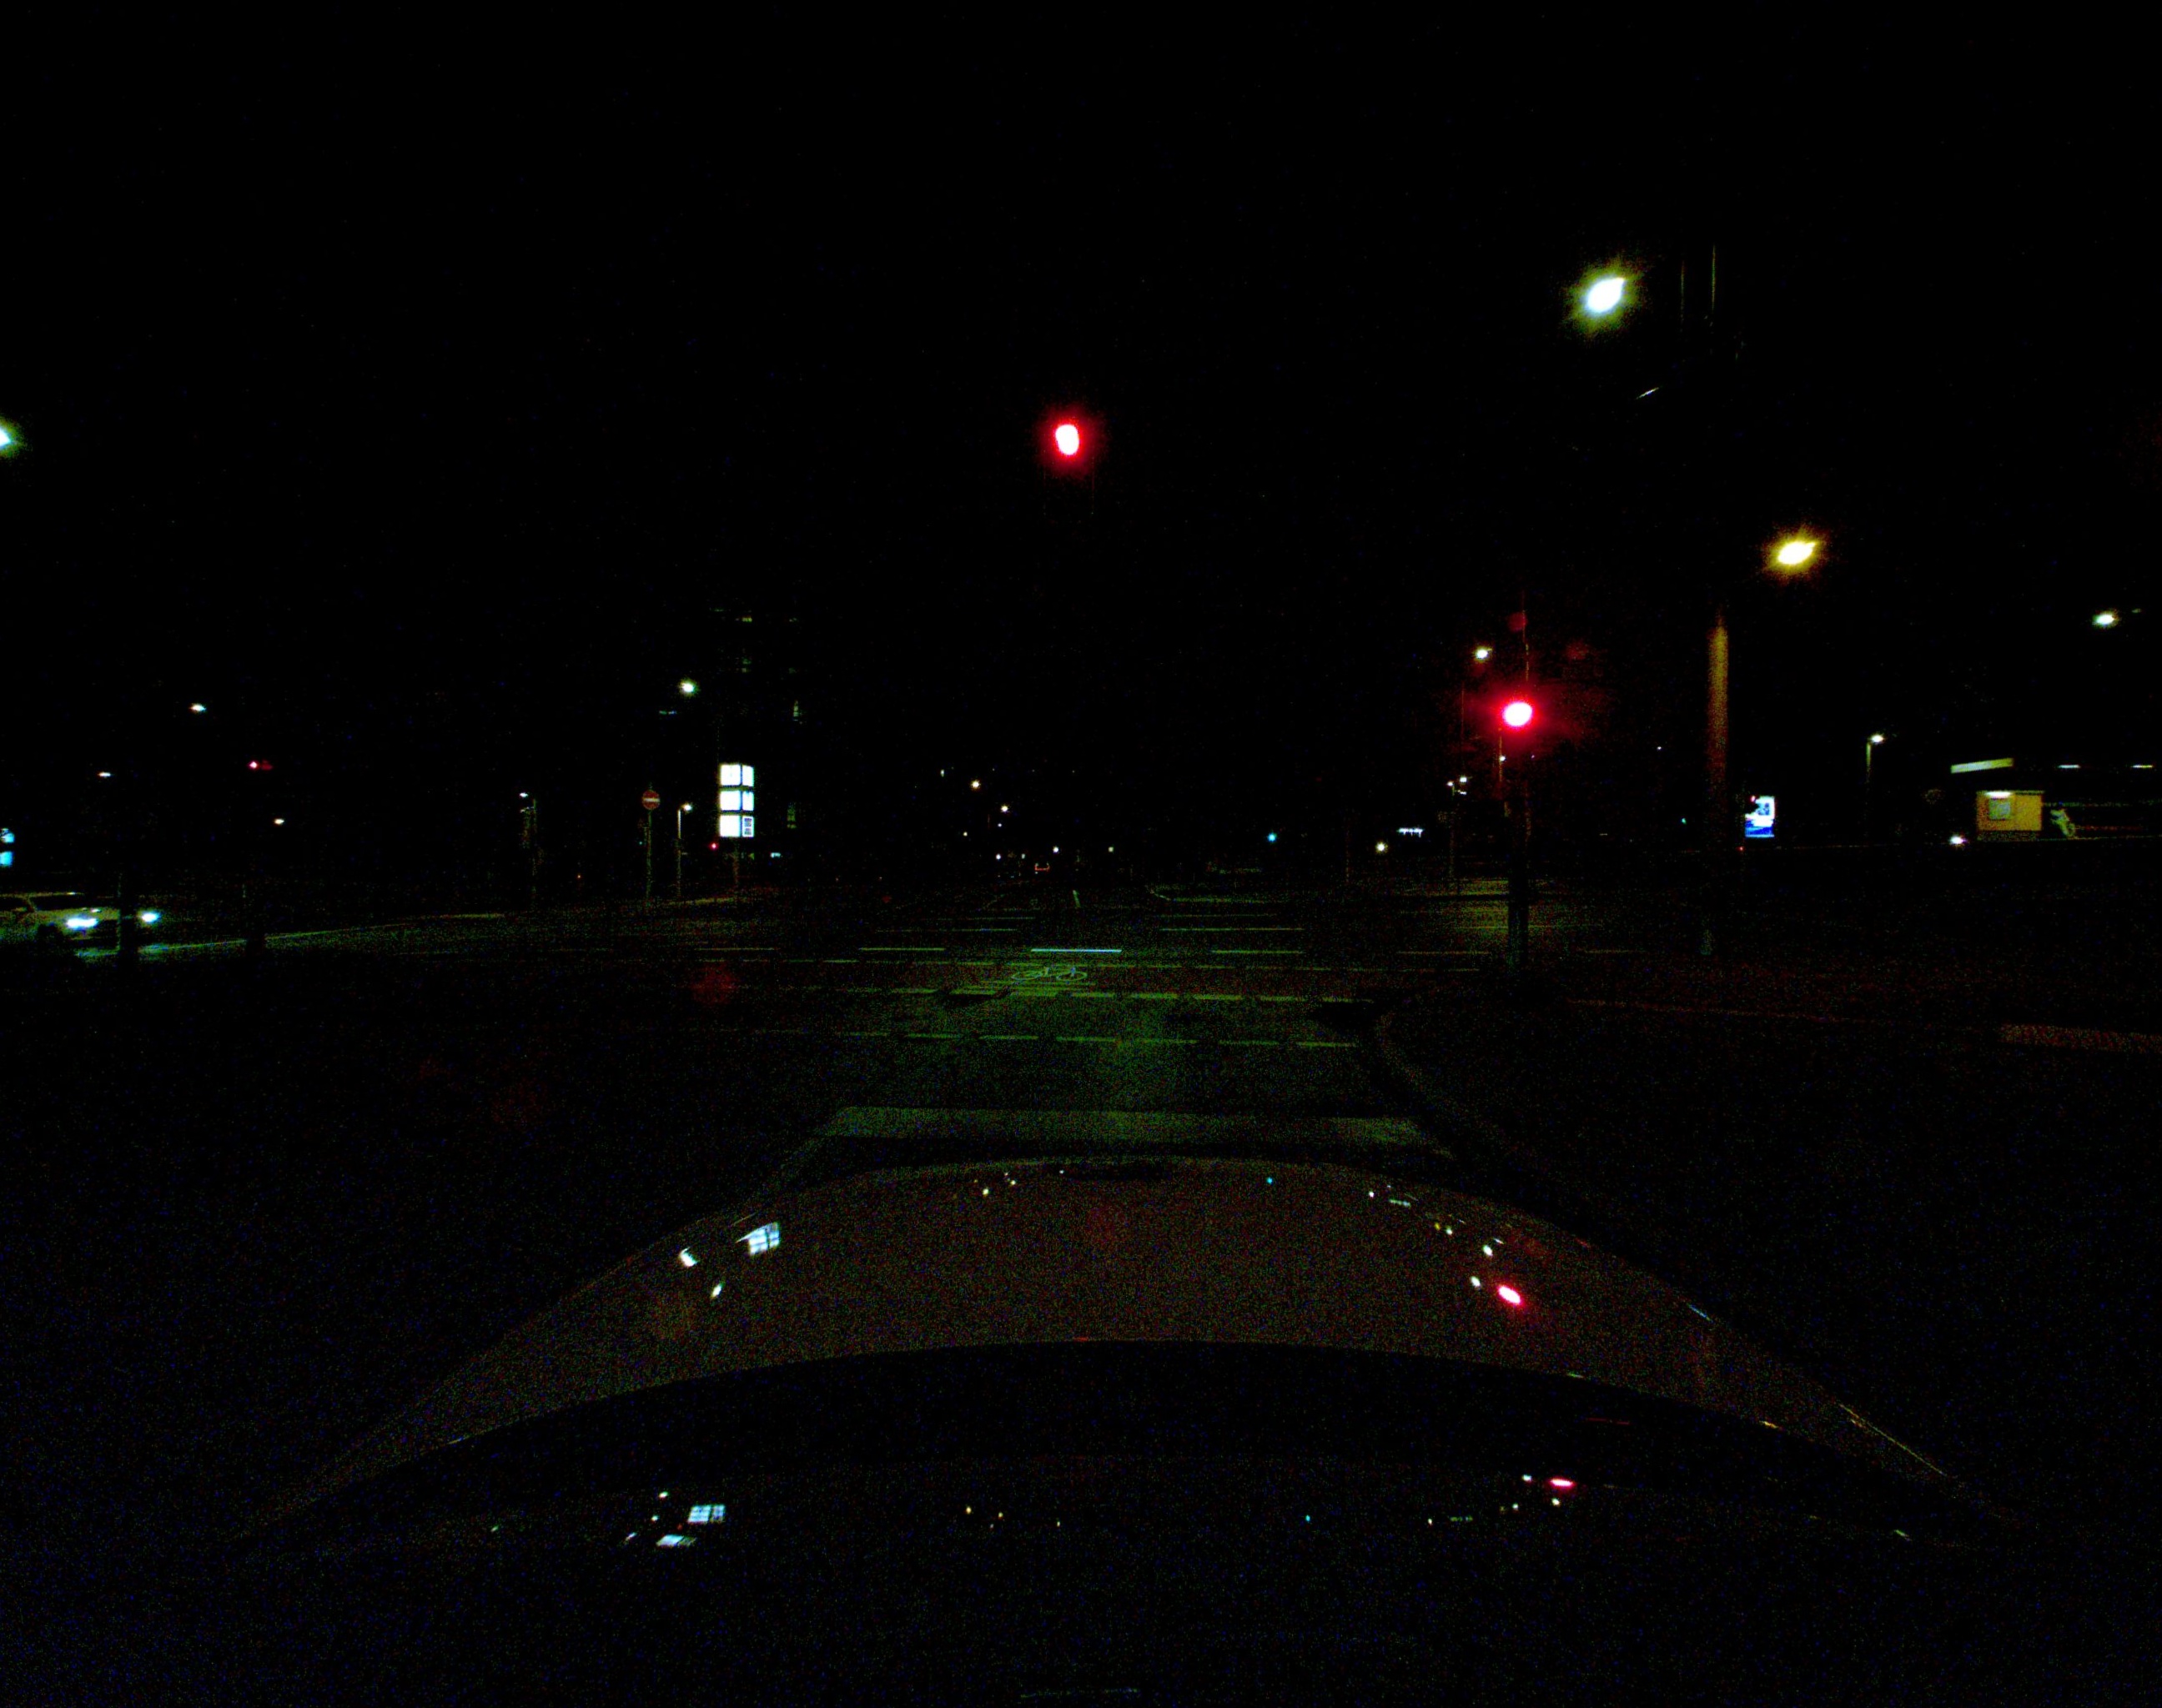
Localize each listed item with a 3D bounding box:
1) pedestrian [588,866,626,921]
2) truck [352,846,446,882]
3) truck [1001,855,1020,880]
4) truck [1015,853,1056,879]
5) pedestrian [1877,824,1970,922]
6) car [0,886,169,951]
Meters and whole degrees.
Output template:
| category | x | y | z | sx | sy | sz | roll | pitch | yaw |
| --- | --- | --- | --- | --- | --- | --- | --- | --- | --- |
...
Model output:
| category | x | y | z | sx | sy | sz | roll | pitch | yaw |
| --- | --- | --- | --- | --- | --- | --- | --- | --- | --- |
| pedestrian | -14.367 | 1.180 | 24.714 | 0.667 | 1.634 | 0.862 | 0 | -1 | -3 |
| truck | -59.756 | 0.879 | 71.433 | 5.873 | 3.088 | 2.915 | 0 | -1 | 3 |
| truck | -10.414 | 1.963 | 119.790 | 2.580 | 3.707 | 5.723 | 0 | -1 | -7 |
| truck | -8.569 | 2.232 | 151.657 | 4.835 | 4.547 | 12.591 | 0 | -1 | -17 |
| pedestrian | 15.755 | 0.357 | 15.254 | 0.752 | 1.745 | 0.834 | -4 | -2 | 1 |
| car | -27.095 | 1.688 | 21.592 | 4.163 | 1.502 | 1.823 | -2 | 0 | 8 |
